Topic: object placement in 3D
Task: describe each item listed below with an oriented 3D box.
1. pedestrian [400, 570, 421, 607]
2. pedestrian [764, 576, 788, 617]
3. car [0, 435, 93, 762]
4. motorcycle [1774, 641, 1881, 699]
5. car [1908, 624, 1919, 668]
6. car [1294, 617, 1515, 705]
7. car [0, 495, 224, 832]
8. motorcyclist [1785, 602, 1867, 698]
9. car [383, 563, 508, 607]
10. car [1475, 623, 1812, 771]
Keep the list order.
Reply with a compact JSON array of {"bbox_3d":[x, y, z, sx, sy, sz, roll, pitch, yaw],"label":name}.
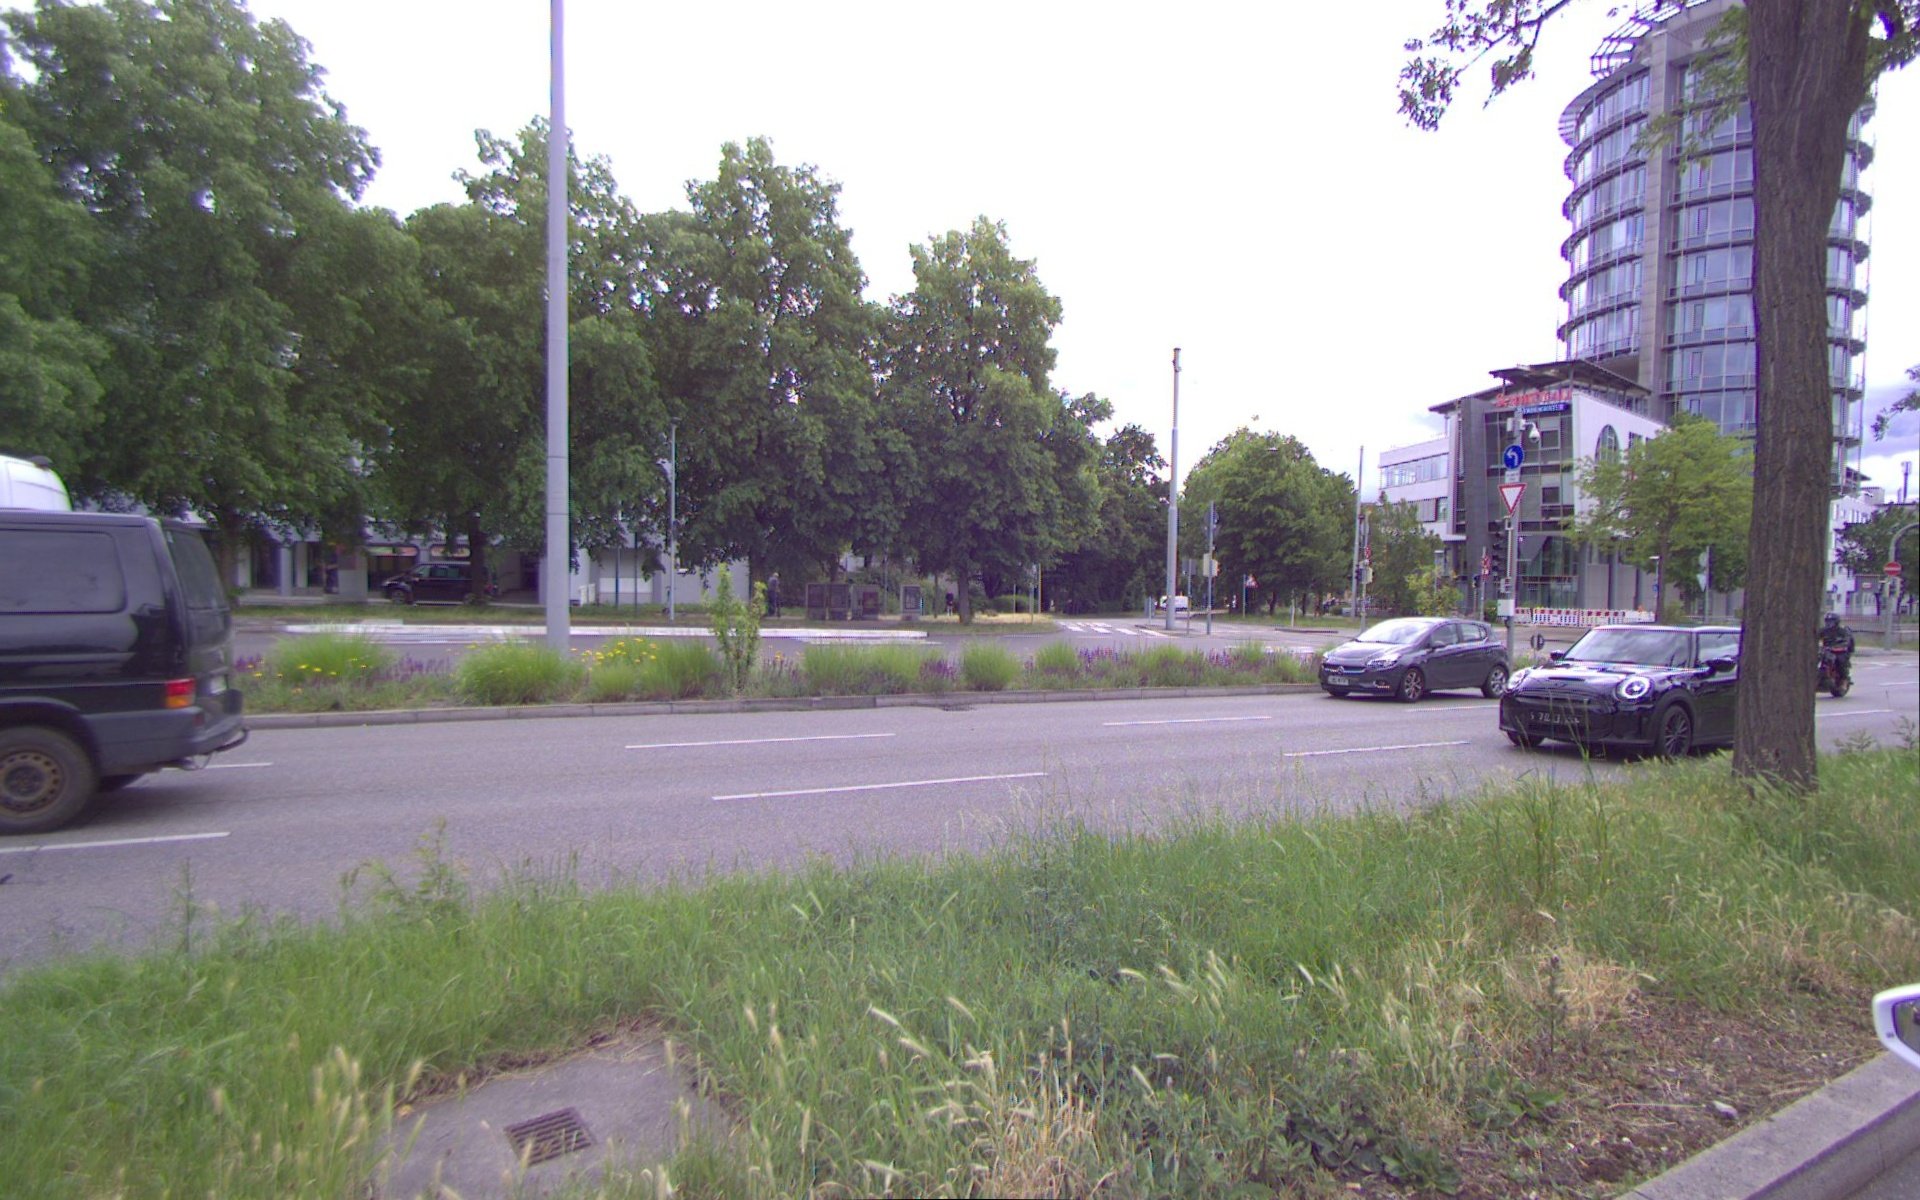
[{"bbox_3d":[-23.354,-0.493,42.684,0.658,1.568,0.656,1,1,-21],"label":"pedestrian"},{"bbox_3d":[-7.790,-0.158,42.461,0.847,1.711,0.453,1,1,-30],"label":"pedestrian"},{"bbox_3d":[-10.719,-0.023,7.722,5.803,2.669,1.985,0,-1,-29],"label":"car"},{"bbox_3d":[17.600,1.386,20.365,2.622,1.078,0.834,1,1,-30],"label":"motorcycle"},{"bbox_3d":[33.600,1.559,33.657,3.758,1.438,1.699,1,0,-30],"label":"car"},{"bbox_3d":[8.173,1.061,18.403,3.972,1.438,1.699,1,0,-30],"label":"car"},{"bbox_3d":[-7.438,0.352,5.799,4.915,1.943,1.926,1,-1,-30],"label":"car"},{"bbox_3d":[17.431,0.981,20.222,1.244,1.861,0.844,1,1,-30],"label":"motorcyclist"},{"bbox_3d":[-23.564,-0.671,46.181,4.736,1.857,1.994,1,1,-15],"label":"car"},{"bbox_3d":[7.821,0.994,11.448,3.735,1.389,1.745,1,0,-30],"label":"car"}]
